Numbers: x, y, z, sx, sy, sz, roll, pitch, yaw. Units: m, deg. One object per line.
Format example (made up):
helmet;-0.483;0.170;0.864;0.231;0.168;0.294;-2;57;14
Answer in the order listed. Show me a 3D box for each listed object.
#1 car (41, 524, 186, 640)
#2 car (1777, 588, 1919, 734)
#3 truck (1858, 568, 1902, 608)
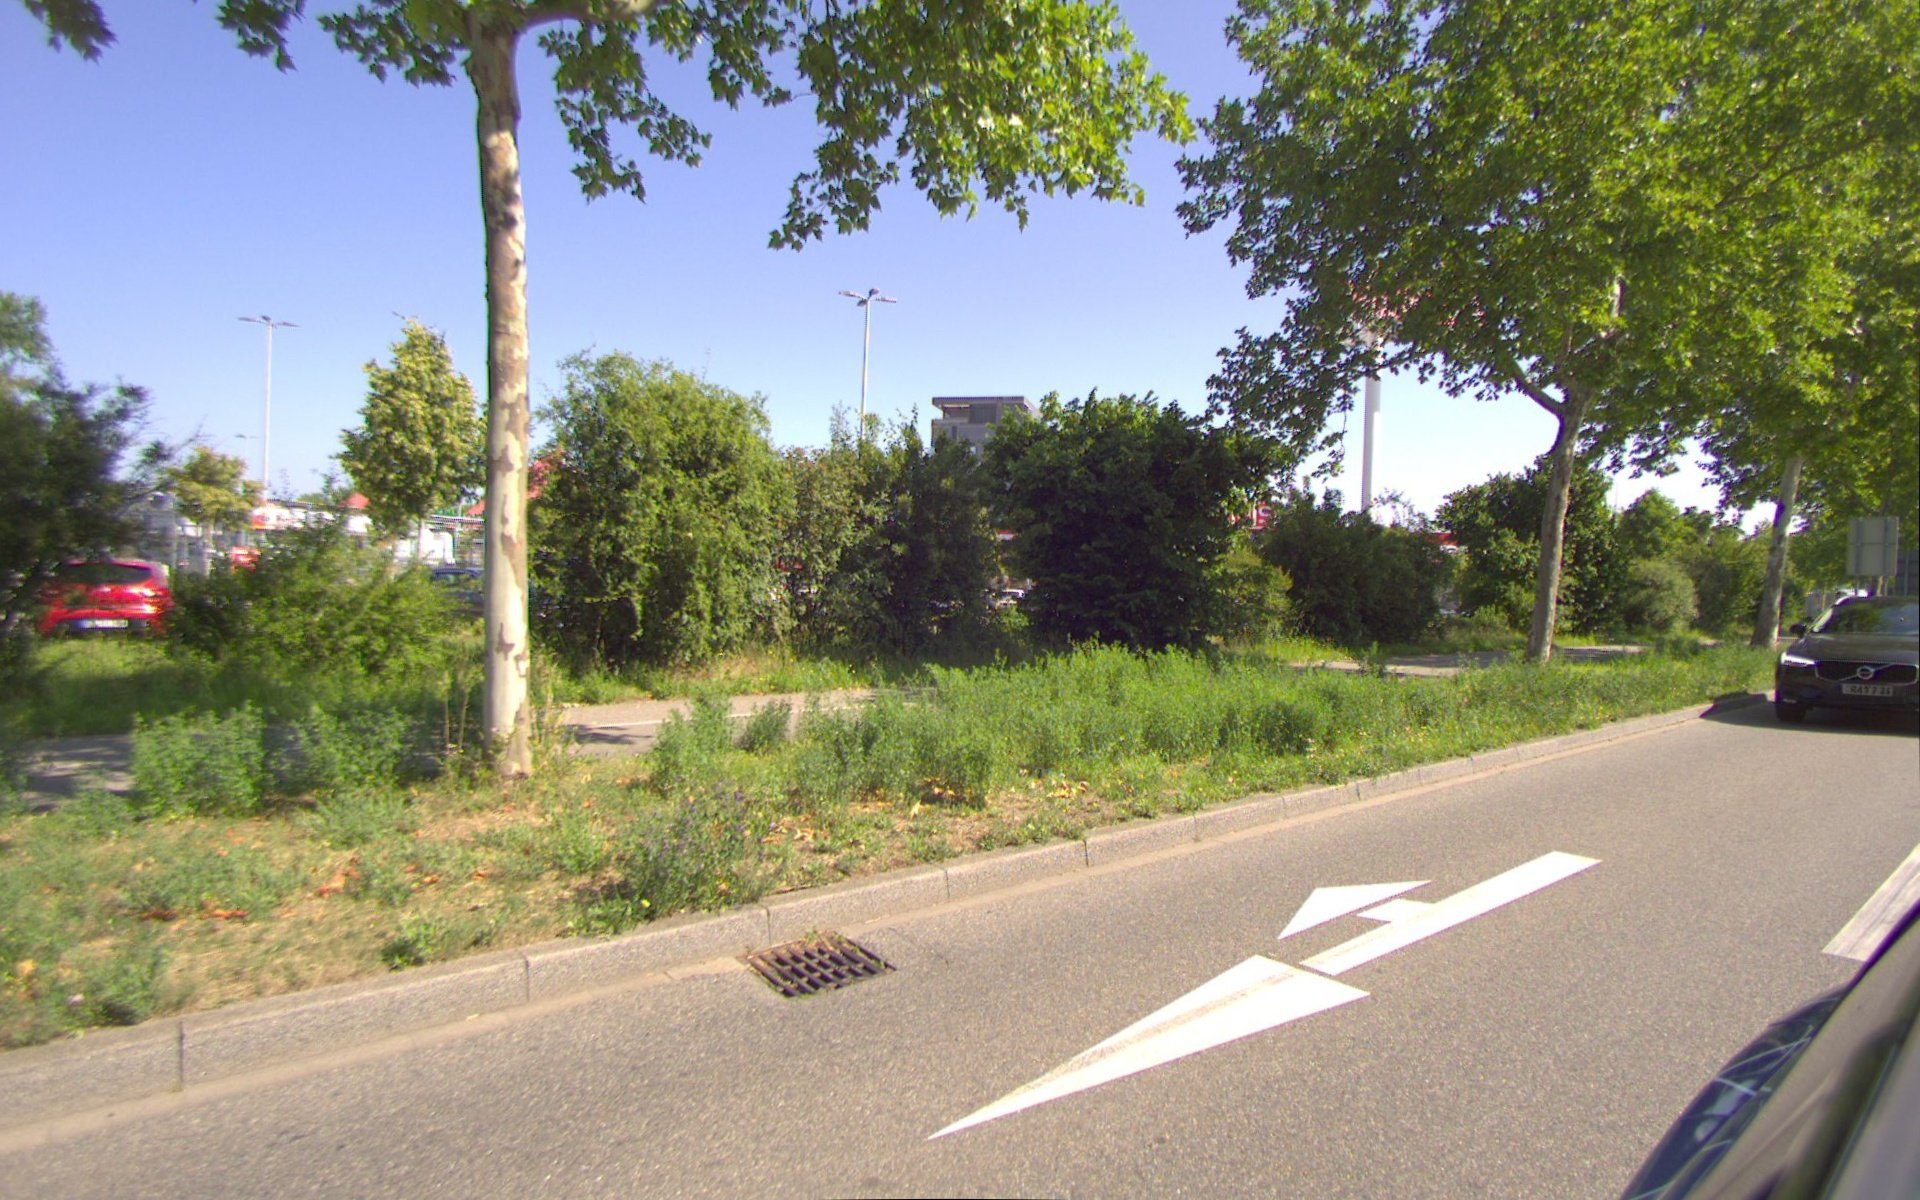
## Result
car;-13.942;-0.284;16.690;1.658;1.692;3.828;0;0;-41
car;12.354;0.690;13.208;4.485;1.643;1.922;0;0;-41
truck;93.398;-1.207;102.792;2.728;3.944;5.772;1;0;37
